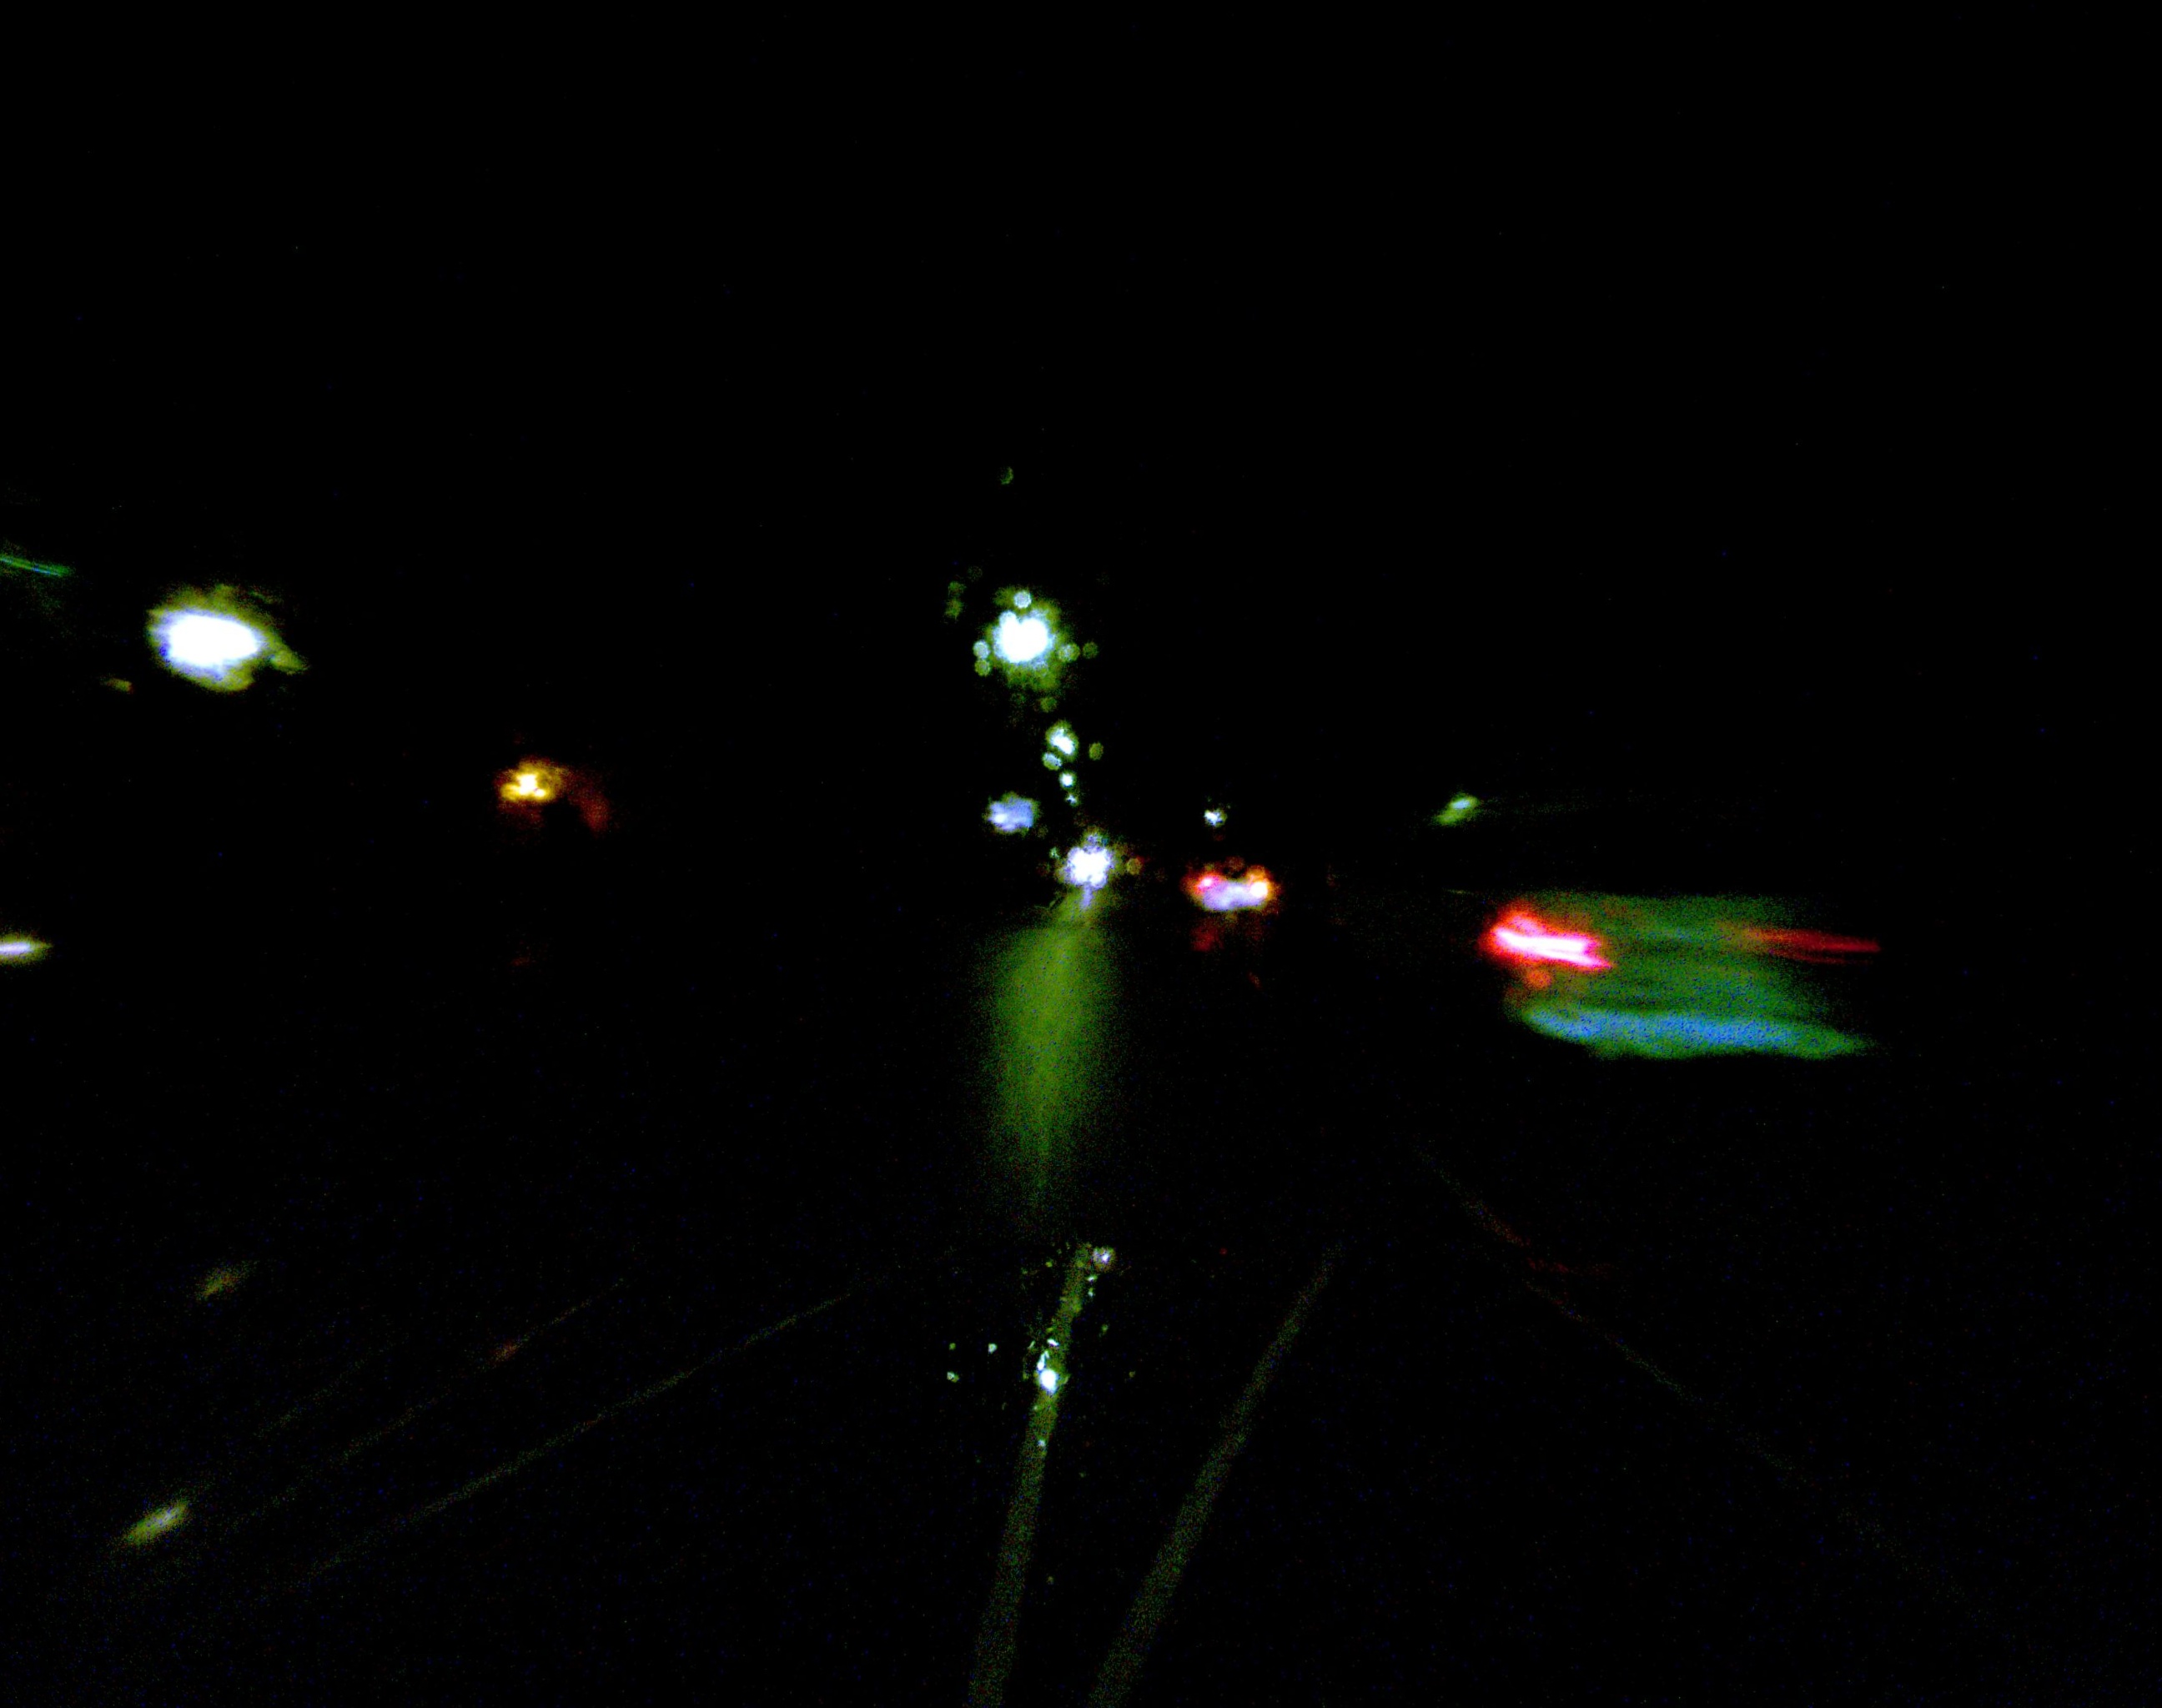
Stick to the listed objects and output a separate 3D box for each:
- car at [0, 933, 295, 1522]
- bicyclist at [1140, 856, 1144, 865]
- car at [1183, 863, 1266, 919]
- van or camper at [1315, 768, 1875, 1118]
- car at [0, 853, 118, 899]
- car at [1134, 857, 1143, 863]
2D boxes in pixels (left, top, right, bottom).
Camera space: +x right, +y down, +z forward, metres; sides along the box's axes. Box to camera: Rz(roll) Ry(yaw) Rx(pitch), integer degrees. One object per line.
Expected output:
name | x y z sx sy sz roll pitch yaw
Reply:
car | -3.629 0.990 0.282 1.794 1.440 4.789 2 0 -2
bicyclist | 10.832 1.146 134.593 0.638 1.585 0.961 -1 -2 0
car | 4.032 0.993 21.924 1.749 1.425 4.000 1 0 2
van or camper | 3.826 0.532 7.012 1.875 2.091 4.942 0 0 1
car | -36.634 0.733 25.866 1.752 1.500 4.585 1 0 2
car | 15.804 1.724 208.138 1.997 1.447 4.306 4 1 8
